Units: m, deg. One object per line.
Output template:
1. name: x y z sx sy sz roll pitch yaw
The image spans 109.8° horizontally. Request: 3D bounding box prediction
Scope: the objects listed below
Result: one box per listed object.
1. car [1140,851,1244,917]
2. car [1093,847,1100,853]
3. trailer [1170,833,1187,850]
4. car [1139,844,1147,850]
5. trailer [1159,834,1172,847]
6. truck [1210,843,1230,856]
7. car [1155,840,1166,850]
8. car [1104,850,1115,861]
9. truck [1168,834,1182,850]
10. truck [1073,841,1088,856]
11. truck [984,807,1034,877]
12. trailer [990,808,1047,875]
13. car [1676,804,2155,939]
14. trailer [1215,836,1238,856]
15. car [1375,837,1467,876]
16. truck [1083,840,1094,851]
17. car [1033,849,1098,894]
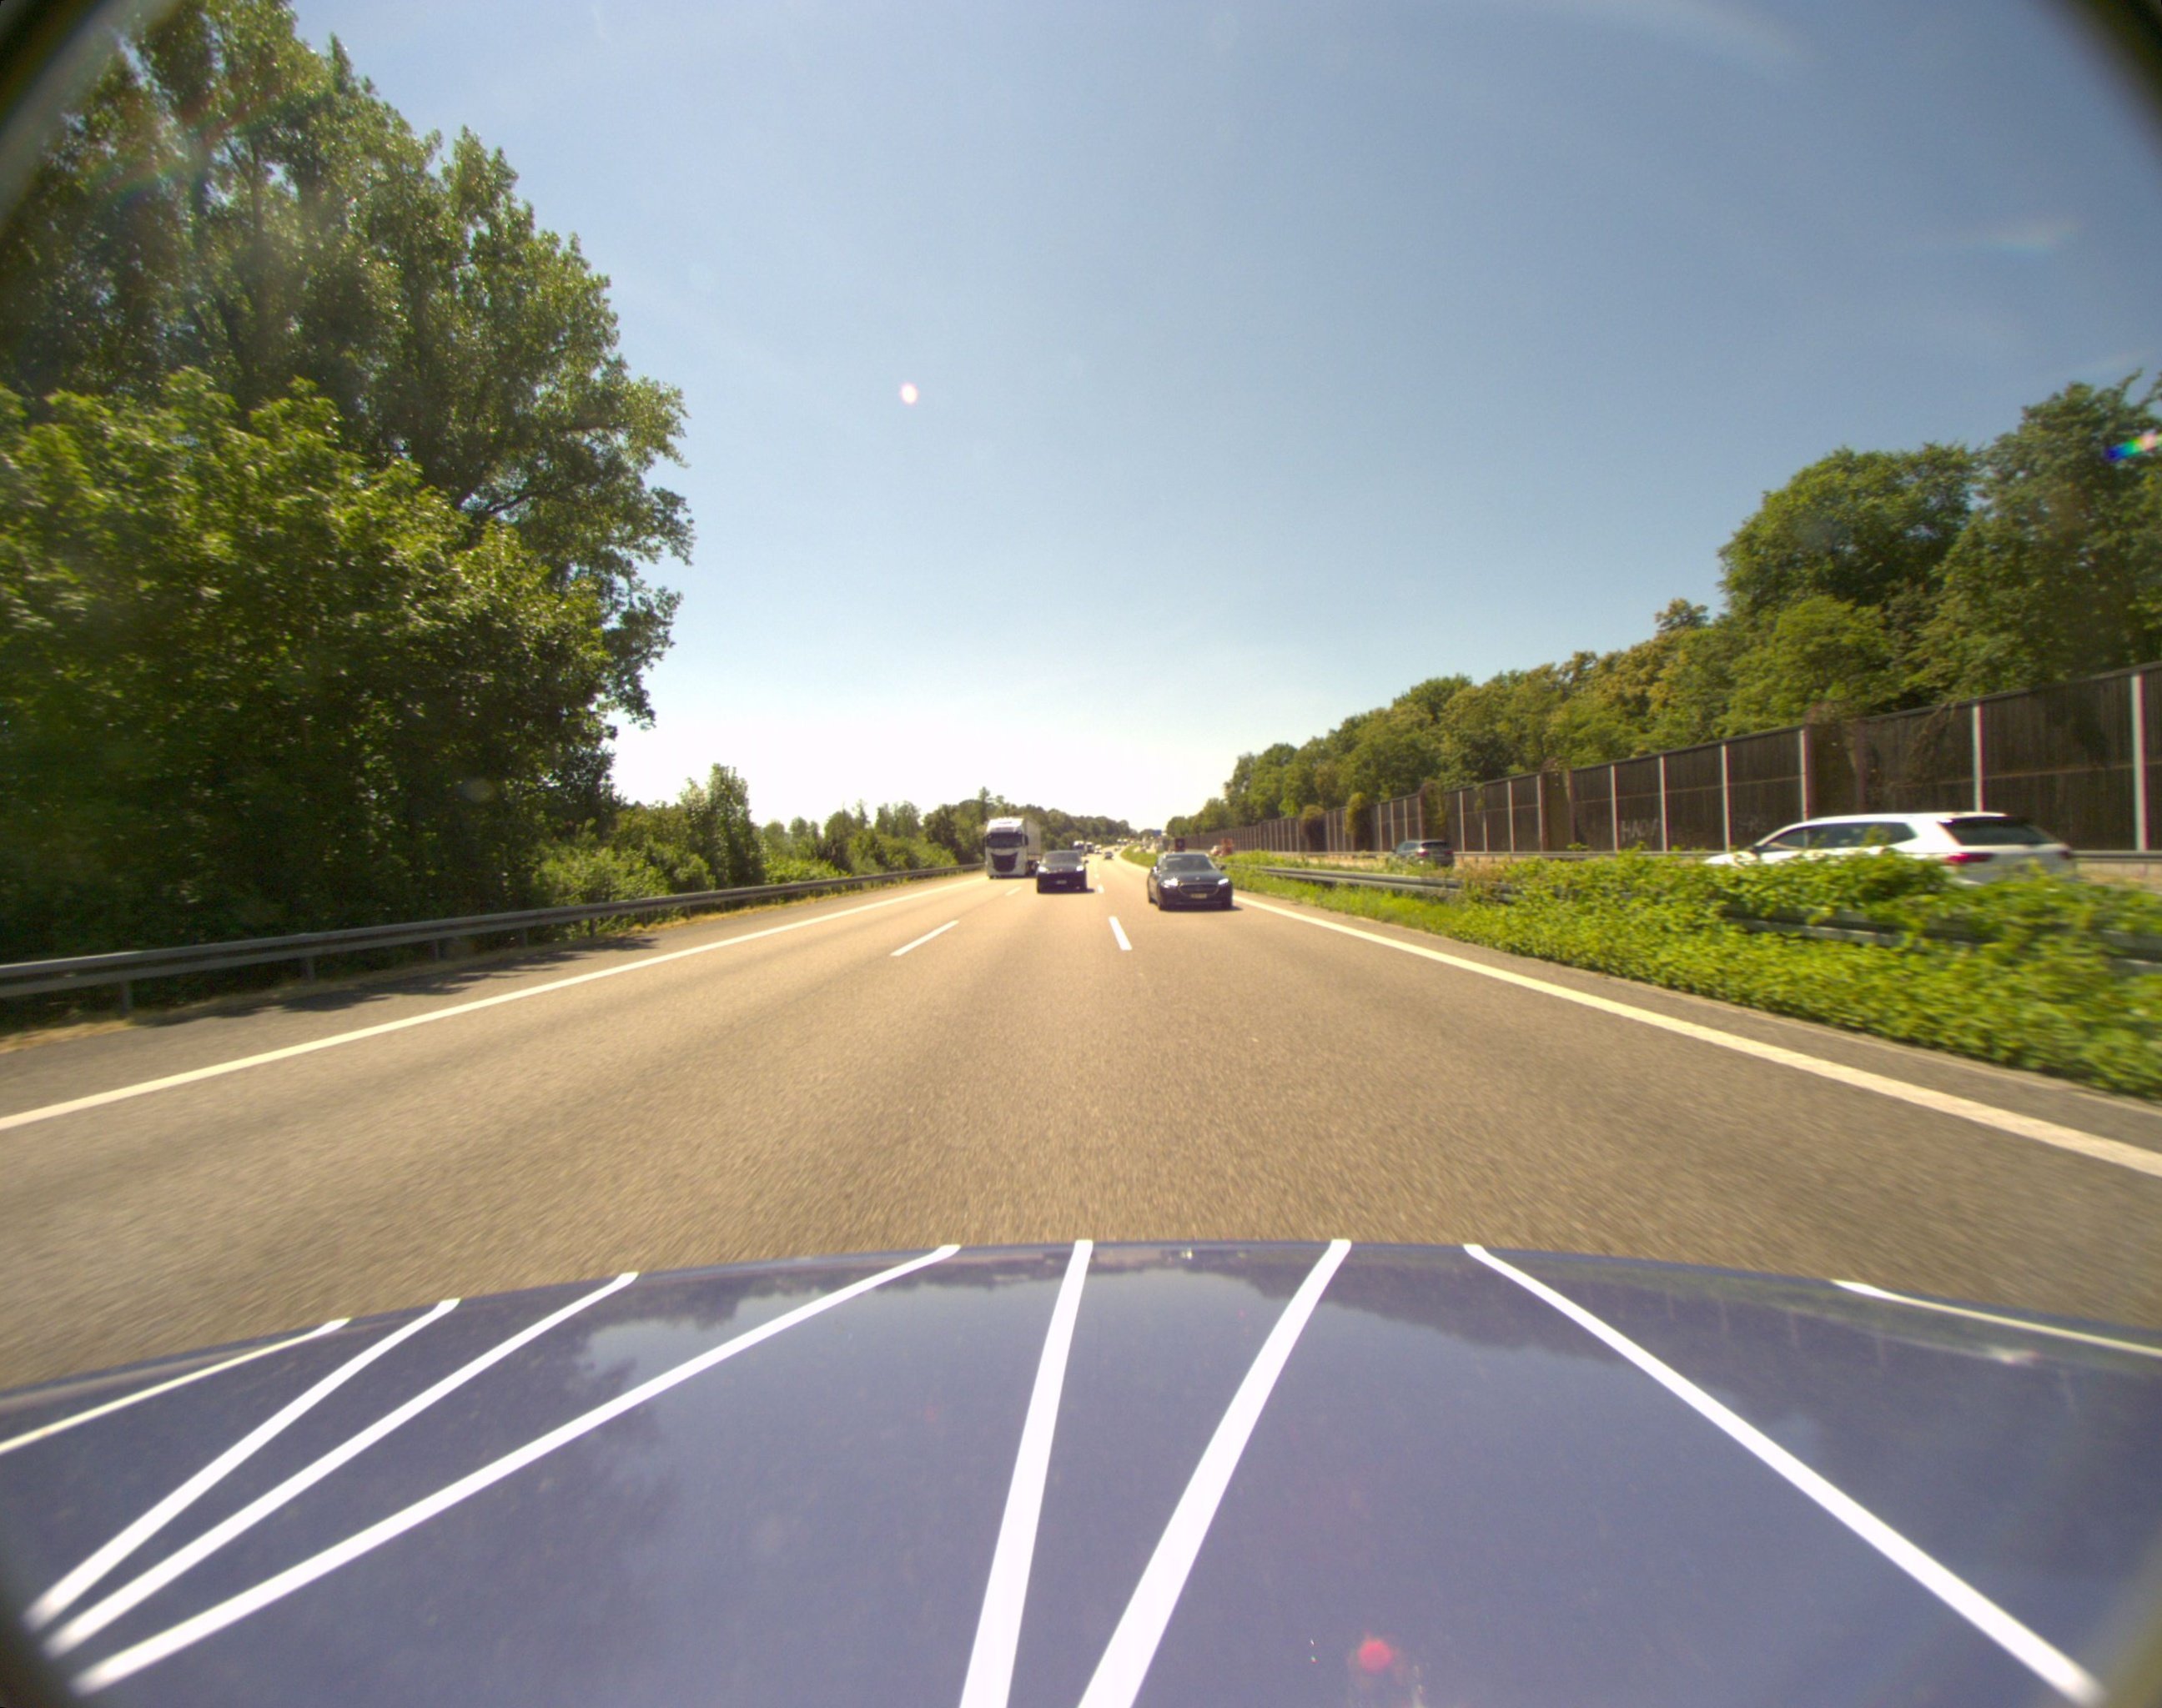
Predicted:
1. car: 2.905 0.706 21.192 1.948 1.498 5.820 -2 0 -1
2. car: 4.879 -1.369 232.530 1.909 1.717 4.871 -2 1 3
3. trailer: 24.710 -3.149 194.031 2.905 4.069 13.332 -2 1 2
4. car: 18.317 -2.076 224.274 2.000 1.710 5.024 -3 0 1
5. trailer: 28.329 -4.553 254.964 2.969 4.006 13.807 -2 1 2
6. truck: 21.797 -0.719 119.513 2.106 1.805 6.211 -2 0 2
7. car: 21.069 -2.266 201.348 2.170 2.526 6.789 -3 0 1
8. car: 4.993 0.254 133.128 1.909 1.717 4.376 -2 1 3
9. truck: 24.926 -3.221 201.216 2.905 4.069 6.117 -2 1 2
10. truck: -0.066 -1.512 203.698 3.073 3.617 12.402 -2 1 3
11. truck: -4.800 -0.780 51.904 2.541 4.446 5.572 -2 1 2
12. trailer: -4.560 -0.904 58.654 2.541 4.446 14.160 -2 1 2
13. car: 12.435 0.205 12.042 1.999 1.638 5.044 -2 0 -1
14. trailer: 21.645 -1.162 113.176 2.248 2.760 6.509 -2 0 1
15. car: 15.776 0.081 35.569 1.999 1.638 4.691 -2 0 -2
16. truck: 2.690 -2.957 260.569 3.073 3.617 12.402 -2 1 3
17. car: -0.545 0.652 31.694 2.048 1.616 5.773 -2 0 5
